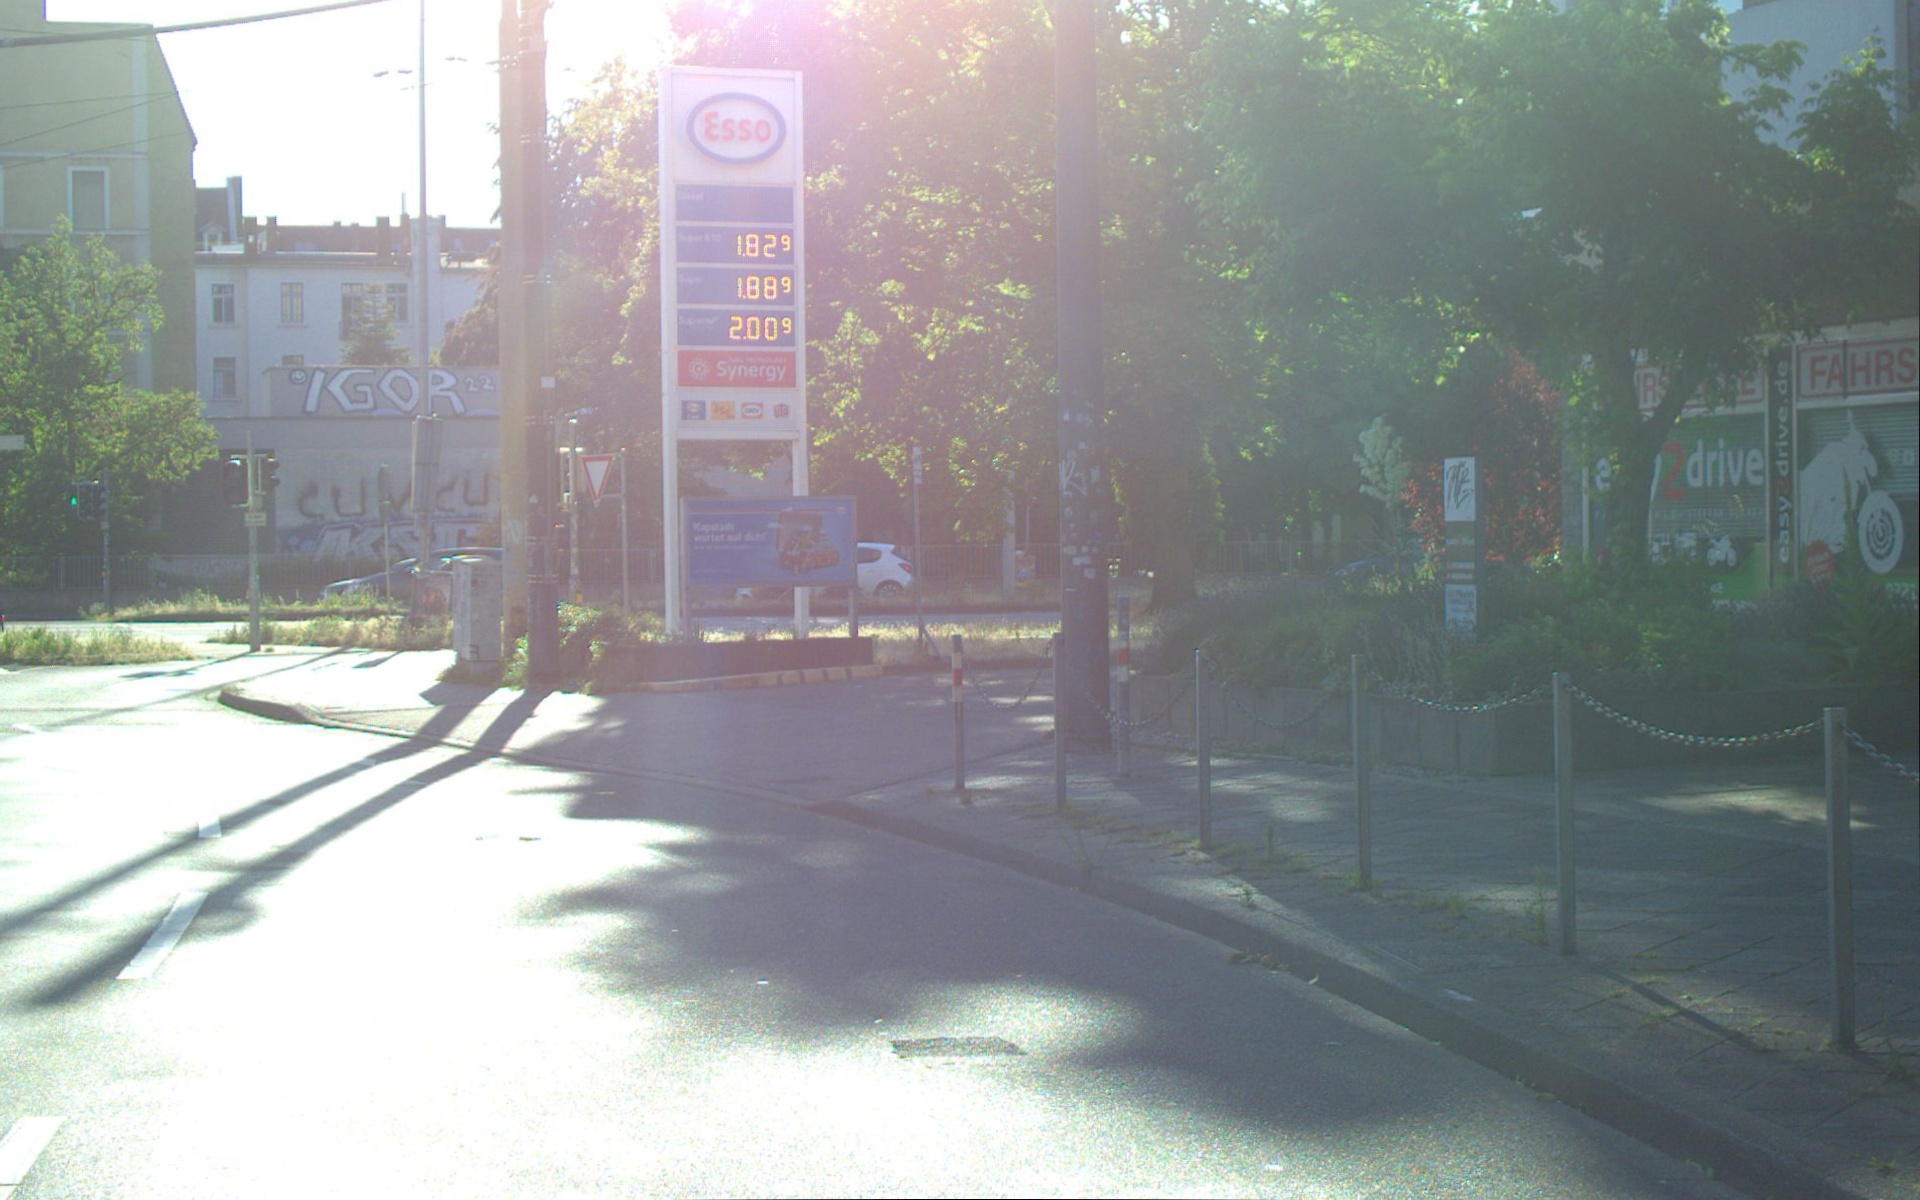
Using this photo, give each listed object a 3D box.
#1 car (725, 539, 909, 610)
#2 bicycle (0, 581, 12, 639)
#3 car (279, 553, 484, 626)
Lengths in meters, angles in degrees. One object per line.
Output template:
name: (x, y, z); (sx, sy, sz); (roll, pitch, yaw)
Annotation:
car: (-3.147, -0.576, 76.096); (3.987, 1.502, 1.673); (-1, 1, -1)
bicycle: (-17.112, 0.194, 58.498); (1.832, 0.981, 0.734); (-1, 1, -18)
car: (-12.118, -0.234, 72.157); (3.987, 1.448, 1.810); (-1, 1, 0)
